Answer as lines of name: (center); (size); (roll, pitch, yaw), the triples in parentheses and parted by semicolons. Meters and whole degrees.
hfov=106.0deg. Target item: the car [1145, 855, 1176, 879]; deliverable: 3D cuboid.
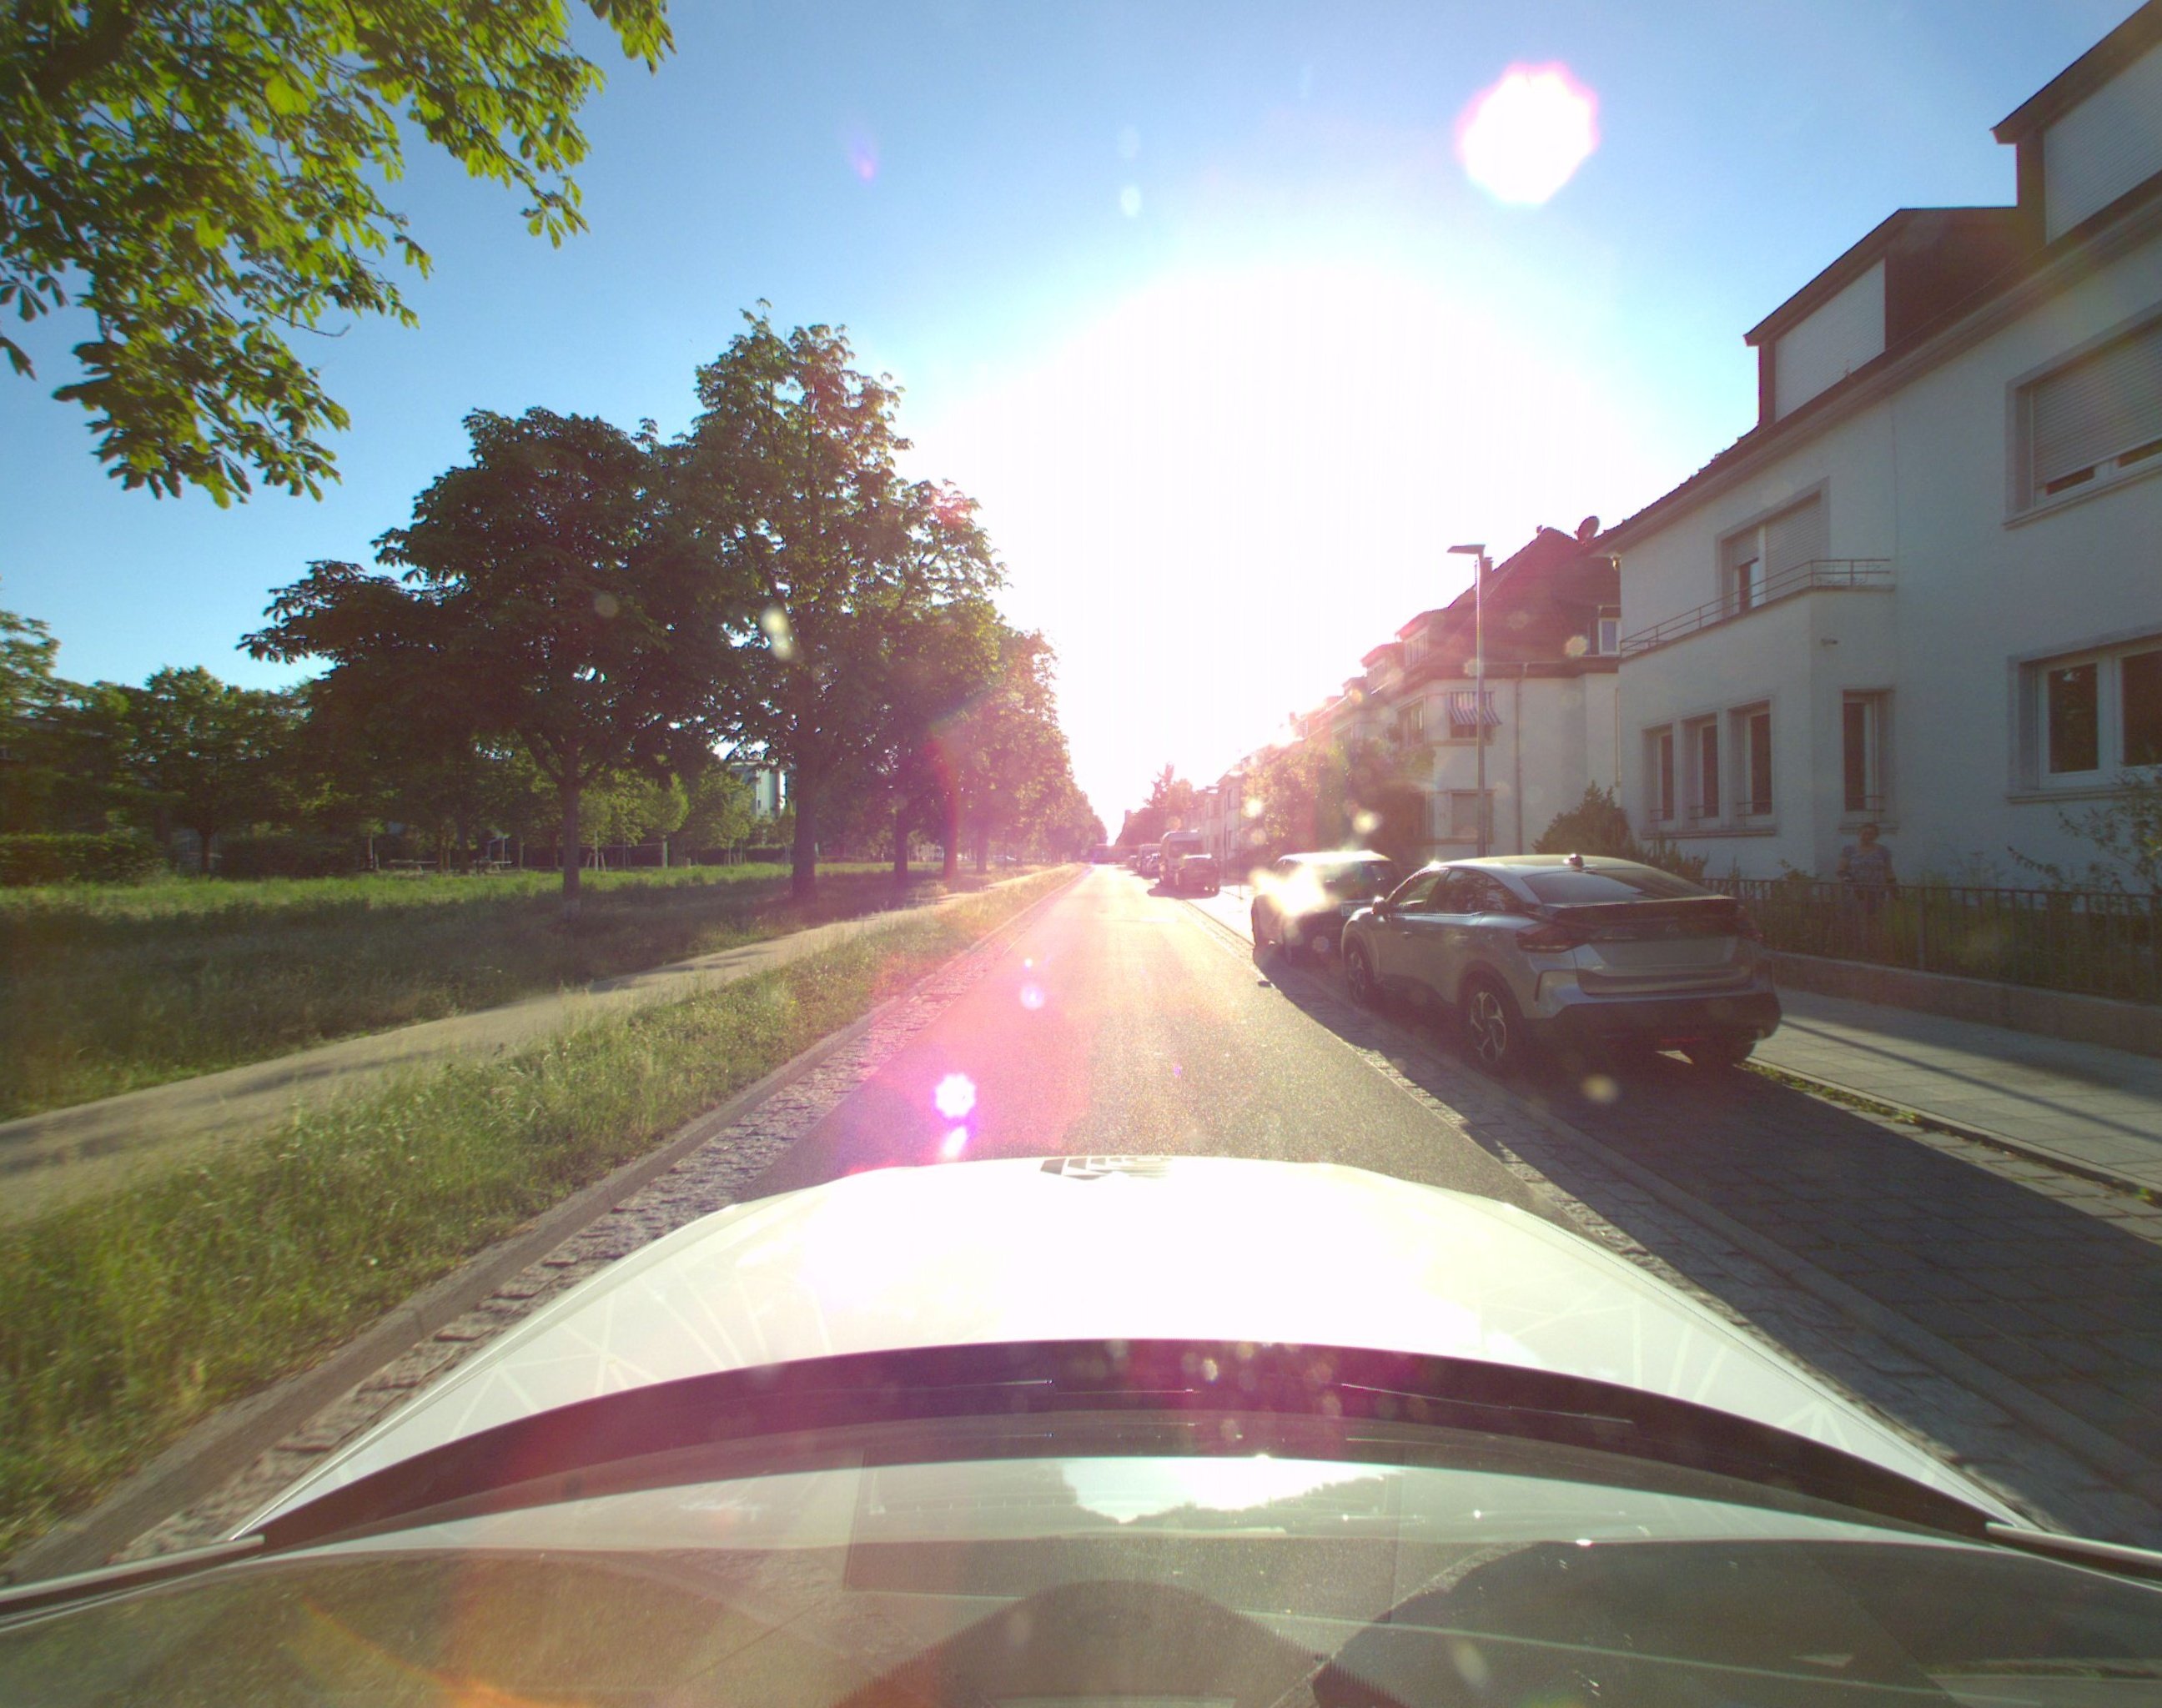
car: (5.708, 0.912, 59.016); (1.831, 1.636, 4.131); (-1, -1, 1)

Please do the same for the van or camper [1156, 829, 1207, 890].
van or camper: (4.874, 0.315, 40.222); (1.936, 2.778, 5.942); (2, -1, 2)

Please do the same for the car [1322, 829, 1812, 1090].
car: (3.667, 0.687, 7.195); (1.713, 1.574, 4.207); (-2, -1, -1)

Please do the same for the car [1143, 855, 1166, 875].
car: (5.748, 0.870, 64.153); (1.643, 1.530, 3.854); (-1, -1, 3)

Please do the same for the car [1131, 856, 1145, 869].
car: (7.140, 1.093, 102.412); (1.643, 1.530, 3.854); (-1, -1, 3)

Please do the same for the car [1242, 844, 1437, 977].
car: (3.870, 0.748, 13.017); (1.825, 1.685, 4.417); (2, 0, 2)

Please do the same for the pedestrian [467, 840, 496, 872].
pedestrian: (-35.707, 0.142, 48.488); (1.044, 1.881, 0.798); (2, -1, 4)

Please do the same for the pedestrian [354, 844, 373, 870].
pedestrian: (-41.736, 0.201, 47.391); (0.587, 1.479, 0.499); (2, -1, -8)

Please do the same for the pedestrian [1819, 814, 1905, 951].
pedestrian: (9.353, 0.327, 9.775); (0.589, 1.578, 0.634); (1, -2, 28)

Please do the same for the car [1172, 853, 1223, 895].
car: (4.756, 0.818, 33.784); (1.657, 1.593, 4.088); (-2, -1, 2)

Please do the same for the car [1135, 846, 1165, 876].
car: (5.913, 0.614, 70.450); (2.119, 2.533, 5.188); (-1, -1, 0)

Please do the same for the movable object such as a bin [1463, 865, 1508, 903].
movable object such as a bin: (12.200, 0.906, 24.599); (0.980, 1.100, 0.790); (1, -1, 5)

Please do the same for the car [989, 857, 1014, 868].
car: (-14.007, 1.537, 144.042); (4.341, 1.764, 1.995); (2, -1, -7)

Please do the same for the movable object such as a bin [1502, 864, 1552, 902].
movable object such as a bin: (13.363, 0.863, 24.419); (1.079, 1.100, 0.790); (1, -1, 5)

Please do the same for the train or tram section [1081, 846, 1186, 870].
train or tram section: (9.874, 0.706, 154.567); (19.734, 3.956, 3.640); (2, -1, -3)
